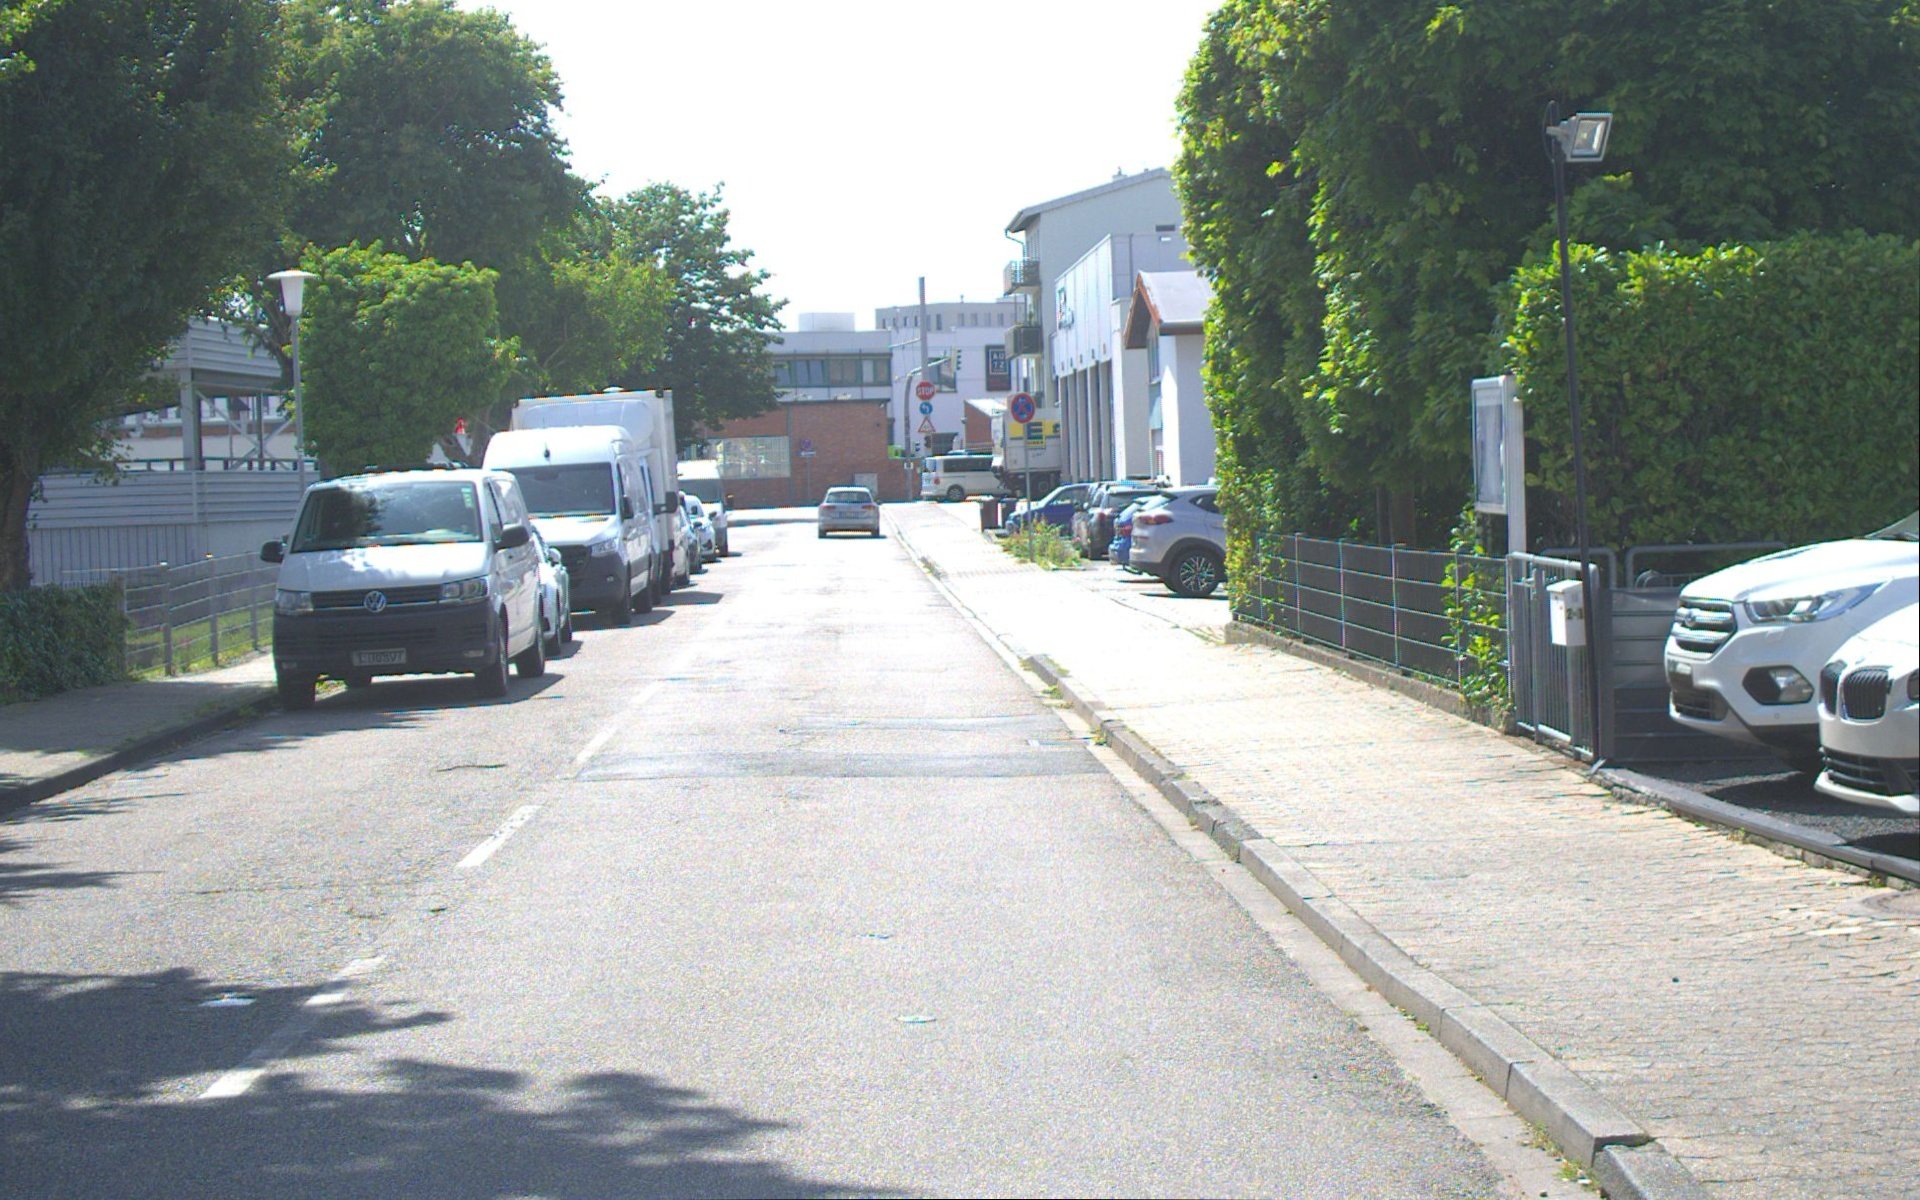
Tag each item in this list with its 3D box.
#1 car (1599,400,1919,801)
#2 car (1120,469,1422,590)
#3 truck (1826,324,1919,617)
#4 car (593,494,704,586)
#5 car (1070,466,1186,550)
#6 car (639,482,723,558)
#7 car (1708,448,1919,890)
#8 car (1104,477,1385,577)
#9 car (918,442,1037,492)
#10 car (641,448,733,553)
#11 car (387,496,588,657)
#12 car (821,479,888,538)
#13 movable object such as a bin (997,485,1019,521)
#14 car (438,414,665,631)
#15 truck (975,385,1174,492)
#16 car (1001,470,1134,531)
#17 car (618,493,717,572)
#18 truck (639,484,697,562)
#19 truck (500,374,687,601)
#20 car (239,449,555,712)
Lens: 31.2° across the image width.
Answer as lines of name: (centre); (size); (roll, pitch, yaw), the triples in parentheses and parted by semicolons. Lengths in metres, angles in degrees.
car: (5.301, -0.094, 15.456); (4.402, 1.648, 1.844); (-2, 2, -4)
car: (4.540, -1.046, 50.584); (4.200, 1.676, 1.767); (1, 2, -2)
truck: (15.589, -1.764, 43.835); (8.276, 3.598, 2.953); (-2, 2, 1)
car: (-5.692, -1.136, 63.154); (1.741, 1.516, 4.311); (-2, 2, -2)
car: (3.384, -1.915, 70.073); (1.858, 1.562, 4.952); (-3, 2, -2)
car: (-6.520, -1.889, 80.082); (1.704, 1.618, 3.975); (-4, 2, -6)
car: (5.327, 0.067, 13.022); (4.402, 1.522, 1.897); (-4, 1, -7)
car: (4.659, -1.222, 56.713); (4.352, 1.436, 1.892); (-3, 2, -2)
car: (0.745, -5.662, 146.726); (4.653, 1.951, 1.917); (-3, 3, -20)
car: (-6.732, -2.492, 85.238); (2.005, 2.358, 5.231); (-5, 3, -3)
car: (-5.099, -0.298, 37.584); (1.714, 1.538, 4.402); (-4, 2, -3)
car: (-3.129, -2.709, 101.460); (1.890, 1.679, 3.958); (1, 1, -2)
movable object such as a bin: (1.329, -2.684, 95.192); (0.514, 0.943, 0.487); (-2, 3, 10)
car: (-5.390, -1.064, 46.378); (2.168, 2.587, 6.921); (-4, 2, -1)
truck: (4.593, -6.489, 138.374); (7.357, 3.632, 2.769); (-5, 3, -7)
car: (2.714, -2.534, 87.212); (3.253, 1.394, 1.673); (-2, 2, -1)
car: (-5.995, -1.415, 70.710); (1.704, 1.458, 4.115); (-4, 2, -1)
truck: (-6.480, -1.734, 76.475); (1.138, 1.616, 3.142); (-4, 3, -4)
truck: (-5.921, -1.815, 56.421); (2.685, 3.354, 7.131); (-3, 2, -5)
car: (-4.859, -0.228, 30.411); (1.971, 2.006, 5.057); (-4, 2, -2)
